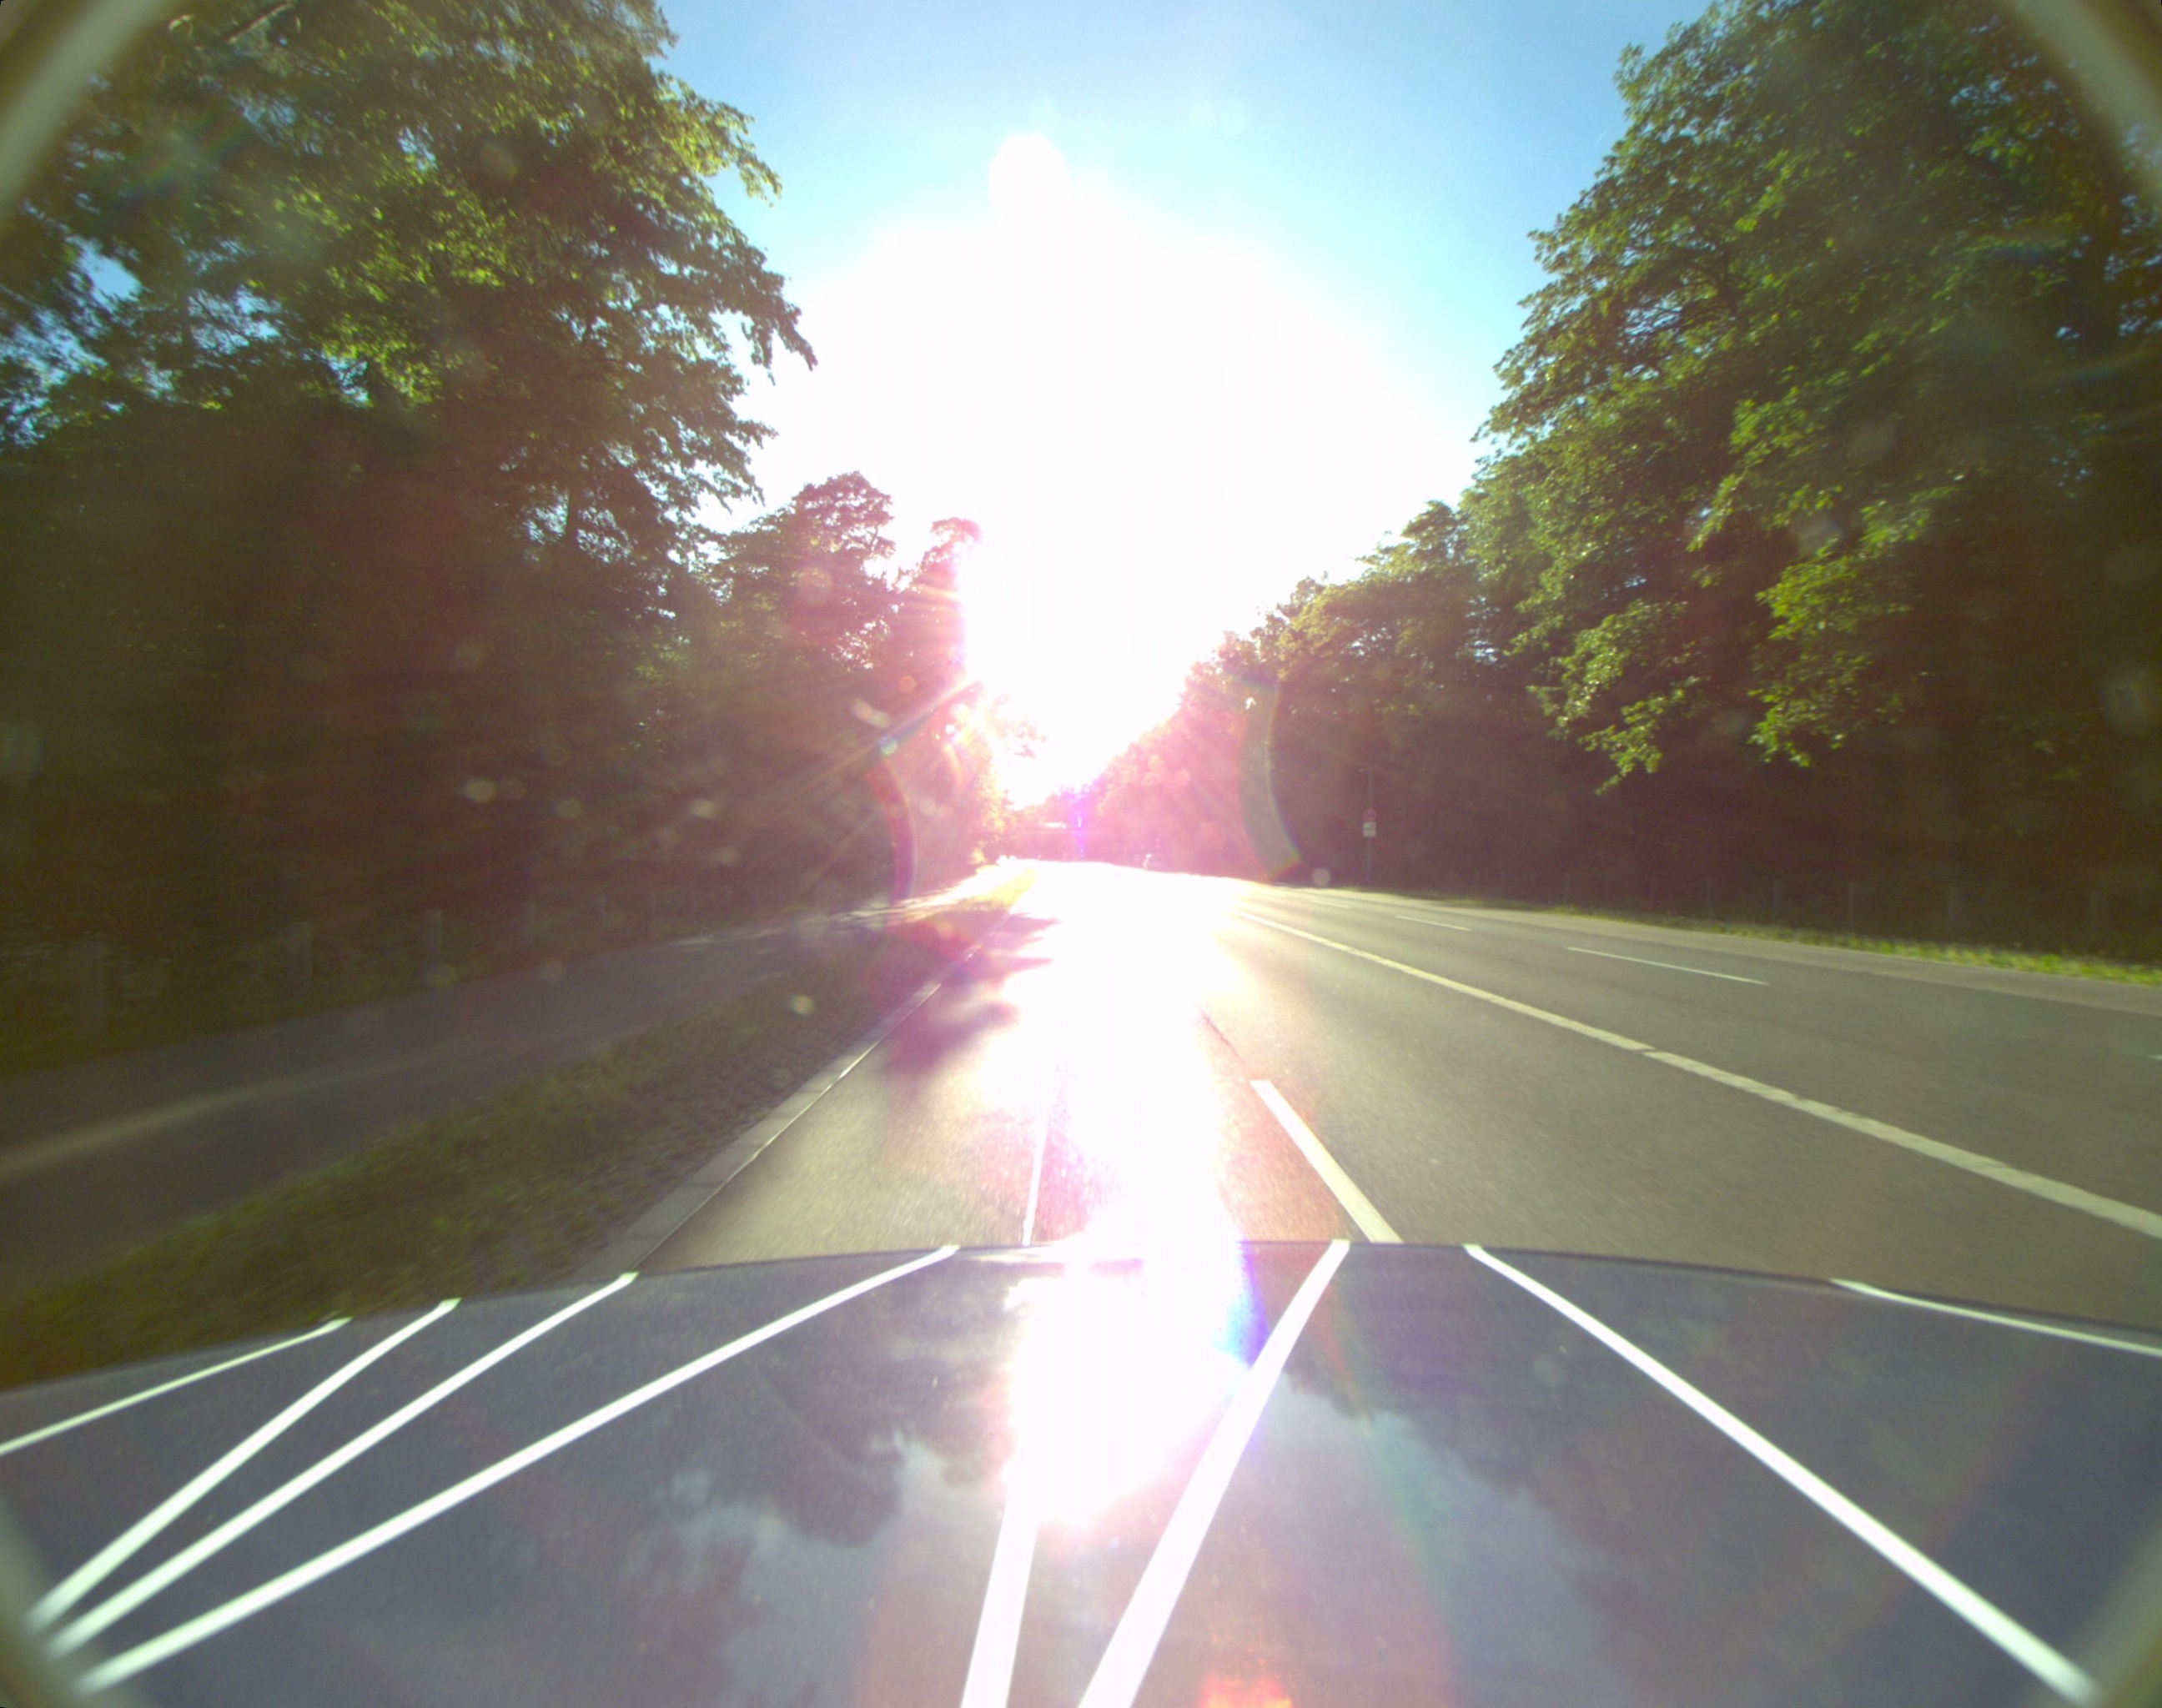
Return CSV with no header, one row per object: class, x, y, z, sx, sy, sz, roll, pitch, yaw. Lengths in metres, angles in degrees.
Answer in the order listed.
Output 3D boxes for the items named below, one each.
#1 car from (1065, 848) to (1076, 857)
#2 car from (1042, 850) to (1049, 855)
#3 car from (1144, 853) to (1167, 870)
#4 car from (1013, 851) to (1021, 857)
car,-2.282,-0.345,167.943,2.007,1.815,4.996,-3,0,-6
car,-10.326,-0.503,219.991,1.518,1.457,4.310,-1,0,-9
car,6.963,0.680,71.670,1.591,1.429,4.308,-3,0,-1
car,-19.982,0.062,237.790,1.828,1.674,3.995,-1,0,-13
